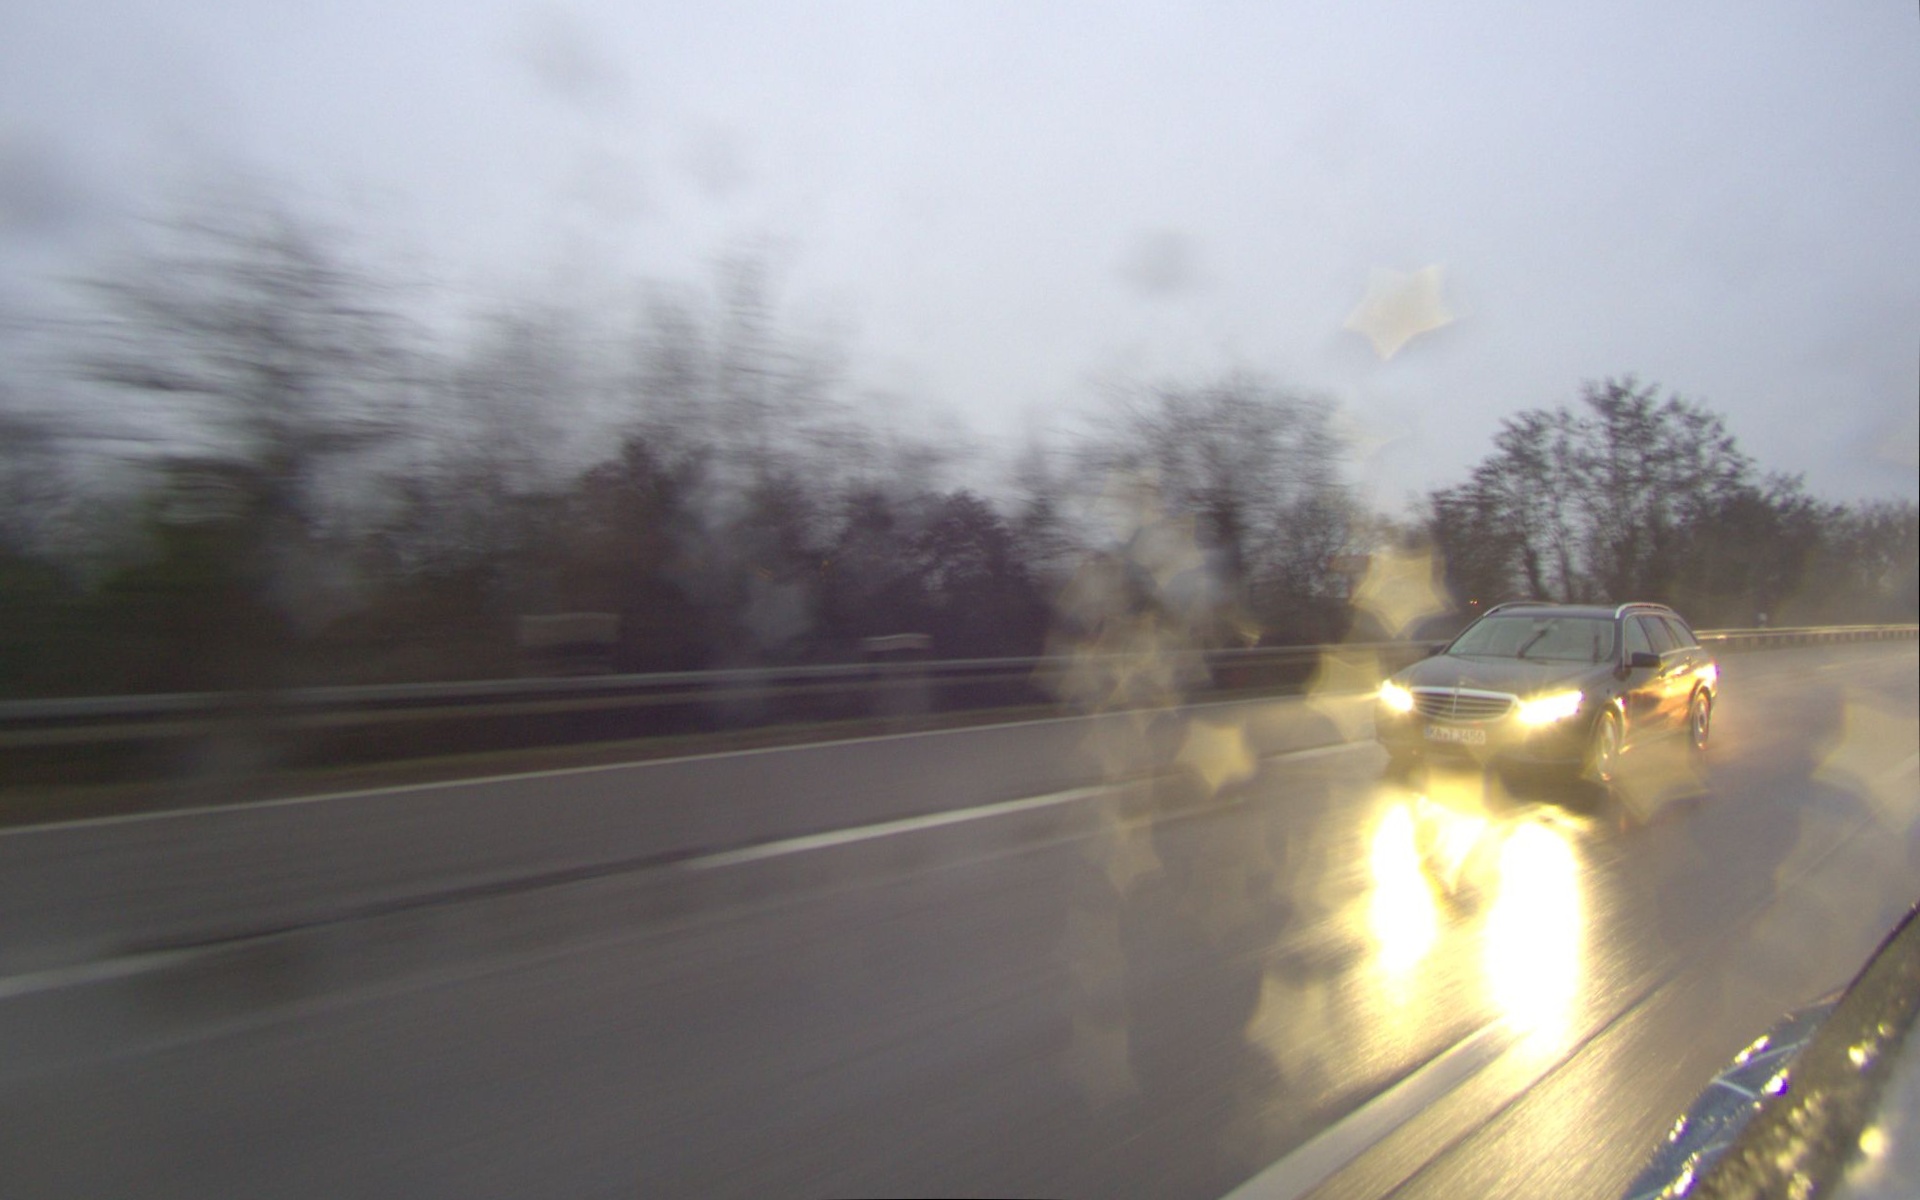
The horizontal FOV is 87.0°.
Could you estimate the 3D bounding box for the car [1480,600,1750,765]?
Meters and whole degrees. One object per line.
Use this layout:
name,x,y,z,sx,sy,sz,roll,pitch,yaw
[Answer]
car,7.282,0.753,11.083,4.106,1.472,1.592,1,-1,-44
